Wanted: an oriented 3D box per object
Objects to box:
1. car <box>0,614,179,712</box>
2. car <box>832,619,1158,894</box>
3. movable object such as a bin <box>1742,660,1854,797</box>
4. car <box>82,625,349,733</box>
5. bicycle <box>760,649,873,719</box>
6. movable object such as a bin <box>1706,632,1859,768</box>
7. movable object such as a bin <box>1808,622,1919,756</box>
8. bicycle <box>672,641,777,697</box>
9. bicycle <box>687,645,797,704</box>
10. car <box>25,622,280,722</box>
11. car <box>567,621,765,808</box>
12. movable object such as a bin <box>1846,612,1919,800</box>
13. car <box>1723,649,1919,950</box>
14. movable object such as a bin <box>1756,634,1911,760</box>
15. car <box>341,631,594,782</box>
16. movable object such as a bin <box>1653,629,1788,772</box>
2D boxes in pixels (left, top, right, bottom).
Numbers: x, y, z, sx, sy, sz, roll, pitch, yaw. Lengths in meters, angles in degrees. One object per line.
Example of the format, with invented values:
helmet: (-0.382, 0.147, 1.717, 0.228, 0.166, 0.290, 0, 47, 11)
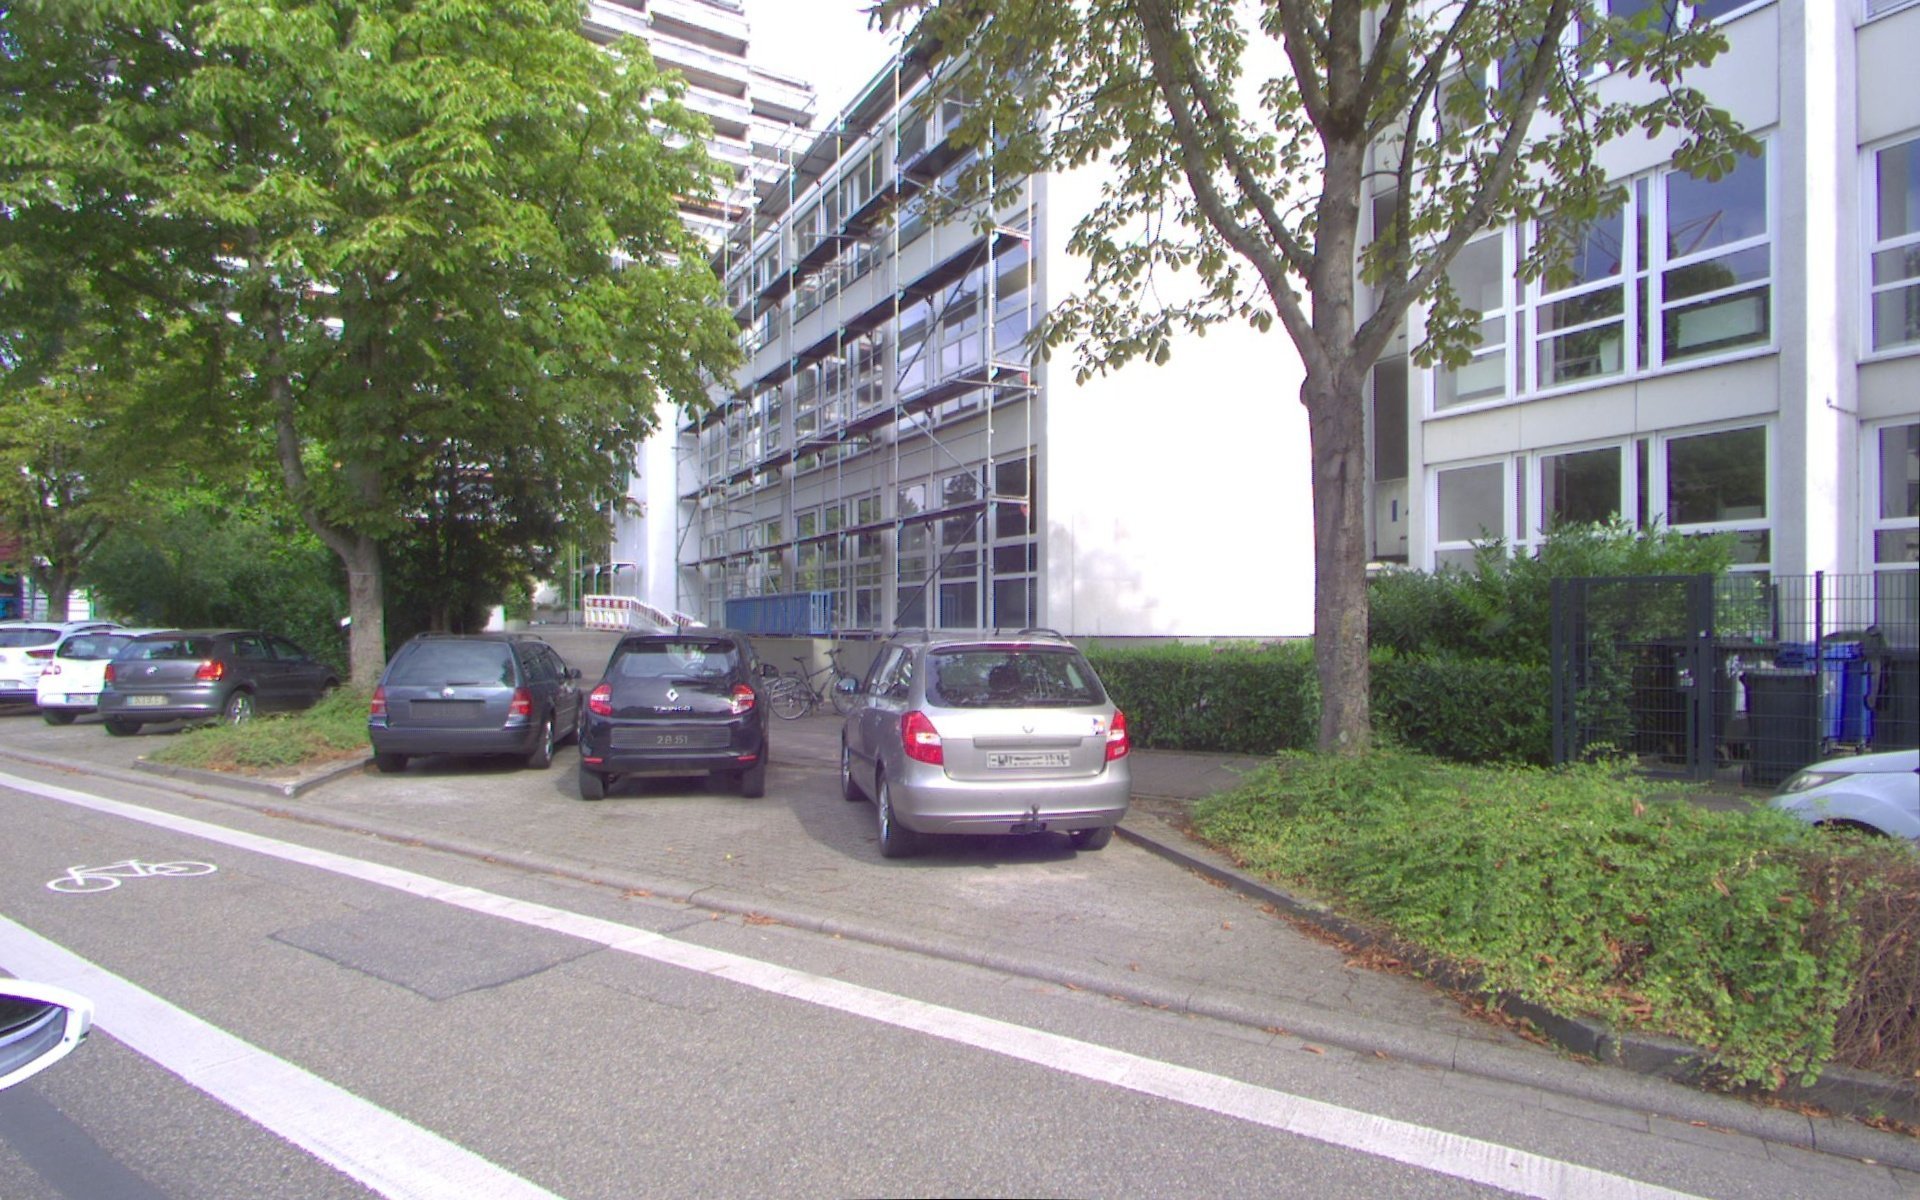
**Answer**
car: (-16.288, 1.103, 18.377, 1.651, 1.623, 3.644, 0, -2, -12)
car: (-0.017, 0.959, 7.823, 1.566, 1.557, 4.049, 1, -2, -13)
movable object such as a bin: (7.464, 1.109, 8.955, 0.734, 1.119, 0.781, 0, -1, 38)
car: (-11.091, 1.108, 15.264, 1.650, 1.438, 3.647, 0, -2, -6)
bicycle: (-2.369, 1.371, 16.601, 1.813, 1.057, 0.451, 0, 0, -29)
movable object such as a bin: (9.241, 1.074, 11.261, 1.050, 1.409, 1.111, 1, -1, -36)
movable object such as a bin: (11.569, 1.075, 12.576, 1.160, 1.588, 1.171, 1, -1, -36)
bicycle: (-4.628, 1.338, 19.690, 1.944, 1.057, 0.593, 1, -1, -20)
bicycle: (-4.108, 1.387, 18.955, 1.949, 1.057, 0.591, 1, -1, -30)
car: (-13.430, 1.137, 16.966, 1.650, 1.493, 3.647, 0, -2, -6)
car: (-2.811, 1.013, 10.198, 1.566, 1.557, 3.416, 1, -1, -10)
movable object such as a bin: (8.601, 0.890, 8.571, 1.397, 1.549, 1.322, -1, -1, 37)
car: (5.572, 0.943, 4.024, 1.604, 1.411, 3.858, 1, -2, -13)
movable object such as a bin: (10.386, 1.101, 11.914, 1.160, 1.388, 1.171, 1, -1, -36)
car: (-5.516, 1.087, 11.794, 1.783, 1.433, 4.166, 0, -2, -14)
movable object such as a bin: (8.080, 1.021, 10.648, 1.012, 1.425, 0.906, 1, -1, -36)
